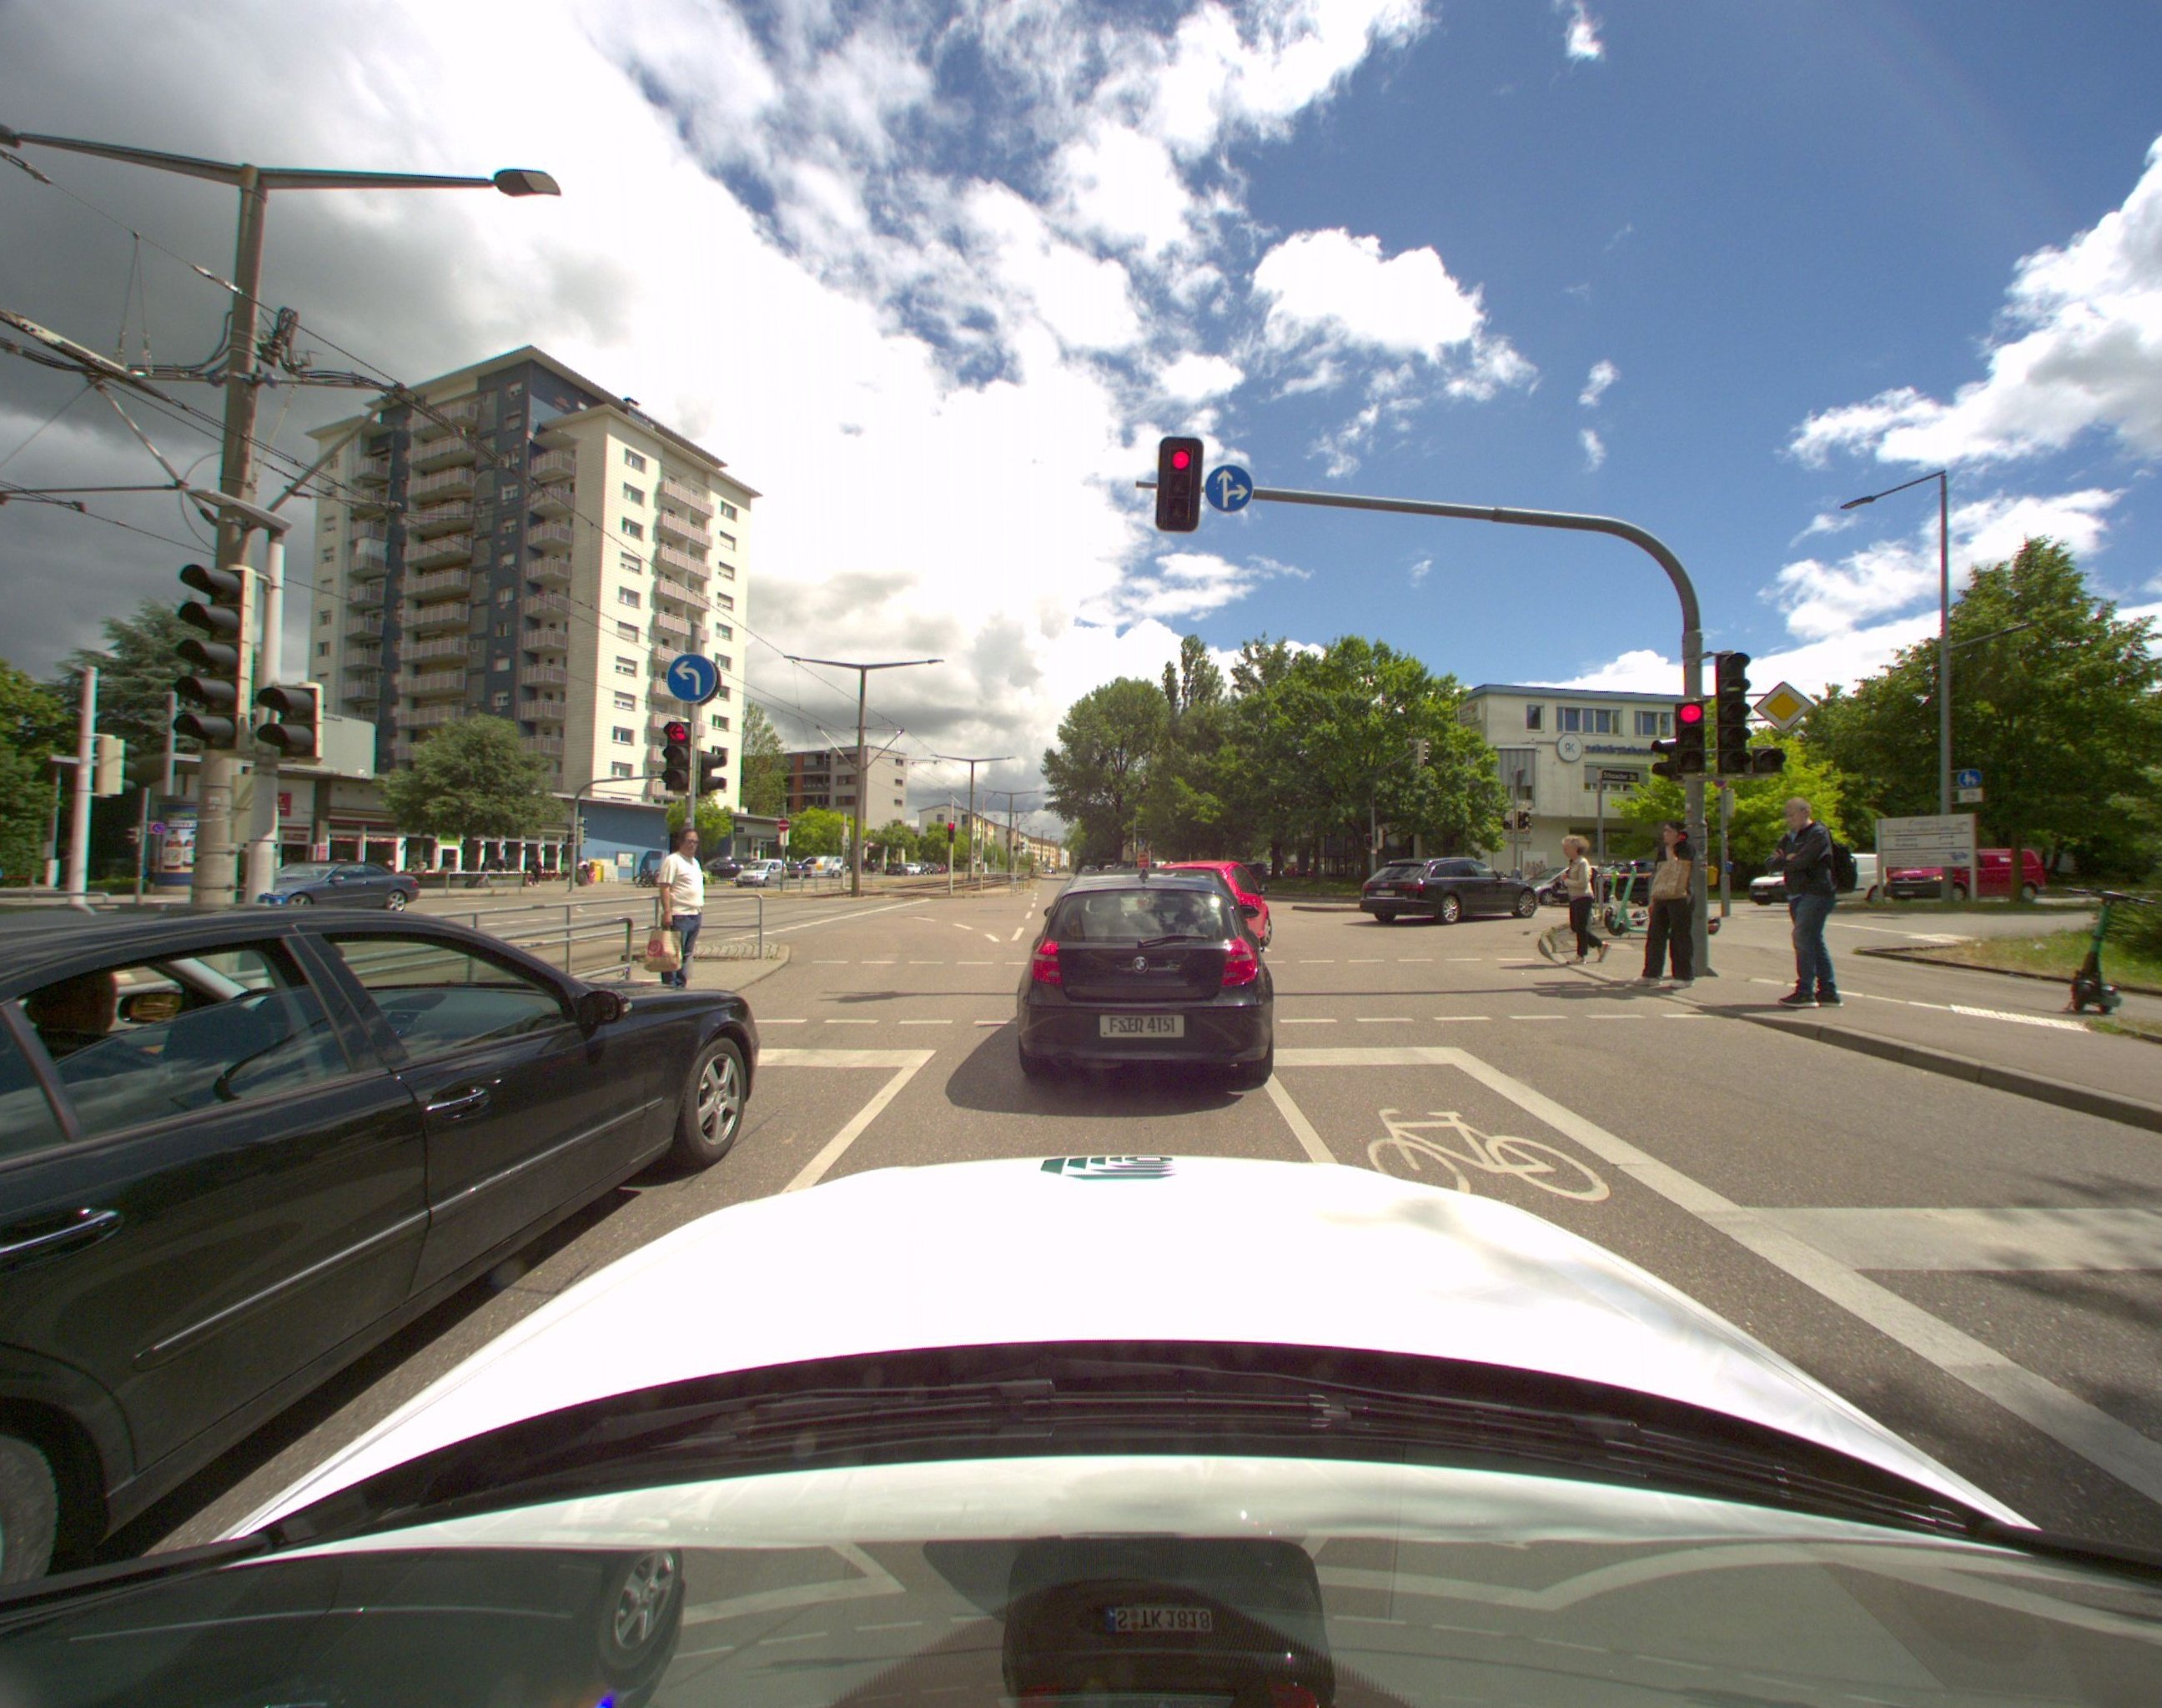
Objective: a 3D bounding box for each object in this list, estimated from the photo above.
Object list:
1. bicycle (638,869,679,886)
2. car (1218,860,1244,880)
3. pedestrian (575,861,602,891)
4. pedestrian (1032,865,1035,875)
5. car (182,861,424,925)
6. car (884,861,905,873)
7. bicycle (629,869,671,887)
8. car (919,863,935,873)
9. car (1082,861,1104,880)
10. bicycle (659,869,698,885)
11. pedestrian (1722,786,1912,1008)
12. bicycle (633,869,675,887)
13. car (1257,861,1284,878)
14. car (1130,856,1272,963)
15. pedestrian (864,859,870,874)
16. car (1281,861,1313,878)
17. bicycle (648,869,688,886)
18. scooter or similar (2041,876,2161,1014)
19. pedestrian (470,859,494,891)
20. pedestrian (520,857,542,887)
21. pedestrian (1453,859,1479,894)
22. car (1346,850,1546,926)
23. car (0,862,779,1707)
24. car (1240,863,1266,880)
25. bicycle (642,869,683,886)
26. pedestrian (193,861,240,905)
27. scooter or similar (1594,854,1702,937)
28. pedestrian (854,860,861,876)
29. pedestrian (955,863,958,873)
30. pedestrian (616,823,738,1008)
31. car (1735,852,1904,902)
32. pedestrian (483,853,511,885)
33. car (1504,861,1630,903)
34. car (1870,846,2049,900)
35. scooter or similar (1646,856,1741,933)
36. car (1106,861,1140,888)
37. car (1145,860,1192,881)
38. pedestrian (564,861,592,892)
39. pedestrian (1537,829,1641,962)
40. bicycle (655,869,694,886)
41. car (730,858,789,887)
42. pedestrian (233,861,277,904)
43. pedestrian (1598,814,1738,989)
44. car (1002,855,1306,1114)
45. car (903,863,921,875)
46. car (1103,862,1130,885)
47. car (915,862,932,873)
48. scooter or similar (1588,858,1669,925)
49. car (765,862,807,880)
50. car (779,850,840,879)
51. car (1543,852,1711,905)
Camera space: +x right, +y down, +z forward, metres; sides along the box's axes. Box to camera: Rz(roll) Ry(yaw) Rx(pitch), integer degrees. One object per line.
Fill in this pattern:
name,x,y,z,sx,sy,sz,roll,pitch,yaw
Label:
bicycle,-23.201,1.299,44.742,1.943,0.935,0.494,0,-1,-5
car,14.058,1.514,76.640,1.626,1.811,4.030,0,0,-1
pedestrian,-27.977,1.232,46.251,0.943,1.659,1.097,-1,-1,-6
pedestrian,-7.747,2.530,131.989,0.477,1.637,0.454,0,-1,1
car,-18.830,0.890,20.061,1.630,1.399,4.492,0,-1,-1
car,-21.551,1.489,94.124,1.758,1.395,3.993,0,0,-5
bicycle,-23.144,1.290,43.770,1.943,0.935,0.494,0,-1,-5
car,-21.297,1.914,112.866,1.758,1.395,3.993,0,0,-5
car,1.190,1.564,77.249,1.986,1.684,4.002,0,0,2
bicycle,-23.164,1.317,46.861,1.943,0.935,0.494,0,-1,-5
pedestrian,6.809,0.374,7.589,0.963,1.942,0.896,0,0,-3
bicycle,-23.178,1.294,44.236,1.943,0.935,0.494,0,-1,-5
car,18.249,1.464,78.645,1.626,1.595,3.998,0,0,-1
car,1.993,0.756,12.770,1.529,1.441,3.212,0,0,21
pedestrian,-24.553,1.462,93.514,0.547,1.716,0.404,0,-1,-8
car,20.949,1.521,79.024,1.728,1.595,3.992,0,0,-5
bicycle,-23.208,1.308,45.765,1.943,0.935,0.494,0,-1,-5
scooter or similar,10.620,0.930,8.476,1.247,1.275,0.709,6,-1,-38
pedestrian,-30.976,1.069,42.129,0.768,1.615,0.695,0,-1,-15
pedestrian,-30.030,0.967,44.448,0.767,1.615,0.695,0,-1,-12
pedestrian,18.830,1.093,39.819,0.769,1.643,0.903,0,0,-14
car,8.448,0.708,18.760,4.536,1.554,1.980,0,-1,-32
car,-2.708,0.768,2.485,1.721,1.461,4.546,0,0,2
car,16.298,1.639,77.407,1.626,1.573,4.030,0,0,-1
bicycle,-23.223,1.303,45.219,1.943,0.935,0.494,0,-1,-5
pedestrian,-33.309,1.119,31.385,0.957,1.659,1.002,-1,-1,28
scooter or similar,8.973,0.640,12.917,1.336,1.277,0.463,0,1,8
pedestrian,-23.043,1.453,83.997,0.547,1.716,0.667,0,-1,-8
pedestrian,-20.828,2.328,136.389,0.451,1.637,0.480,0,-1,-1
pedestrian,-4.101,0.599,8.325,0.866,1.808,0.741,0,0,-2
car,26.268,0.788,29.046,4.555,1.717,1.995,0,0,-8
pedestrian,-35.434,0.897,49.443,0.863,1.917,1.213,0,0,-4
car,19.013,1.074,31.939,3.906,1.555,1.994,0,0,-9
car,31.863,0.676,29.602,4.800,1.864,1.995,0,-2,-8
scooter or similar,10.362,0.682,13.788,1.225,1.240,0.555,2,0,-7
car,2.774,1.353,54.298,2.144,1.684,4.001,0,-1,2
car,8.135,1.507,75.688,4.001,1.823,1.766,0,0,-21
pedestrian,-27.797,1.249,45.031,0.943,1.659,1.097,-1,-1,-6
pedestrian,6.690,0.534,10.782,0.945,1.674,0.874,-1,-1,17
bicycle,-23.144,1.312,46.370,1.943,0.935,0.494,0,-1,-5
car,-19.513,1.114,49.554,1.930,1.693,3.874,0,0,2
pedestrian,-32.890,1.125,32.428,0.957,1.659,1.002,-1,-1,28
pedestrian,6.245,0.474,8.701,0.933,1.765,0.770,-1,0,-10
car,0.490,0.749,6.683,1.746,1.487,4.002,0,0,2
car,-21.062,1.848,101.710,1.758,1.395,3.993,0,0,-5
car,2.707,1.447,61.753,1.986,1.684,4.001,0,-1,2
car,-20.961,1.815,108.289,1.758,1.395,3.993,0,0,-5
scooter or similar,9.882,0.663,14.702,1.360,1.156,0.540,1,0,-23
car,-24.527,1.361,67.648,1.800,1.420,4.166,0,0,-43
car,-24.327,0.917,72.730,2.848,2.478,6.642,0,0,-41
car,18.619,0.797,27.907,4.551,1.717,1.996,0,0,-5
